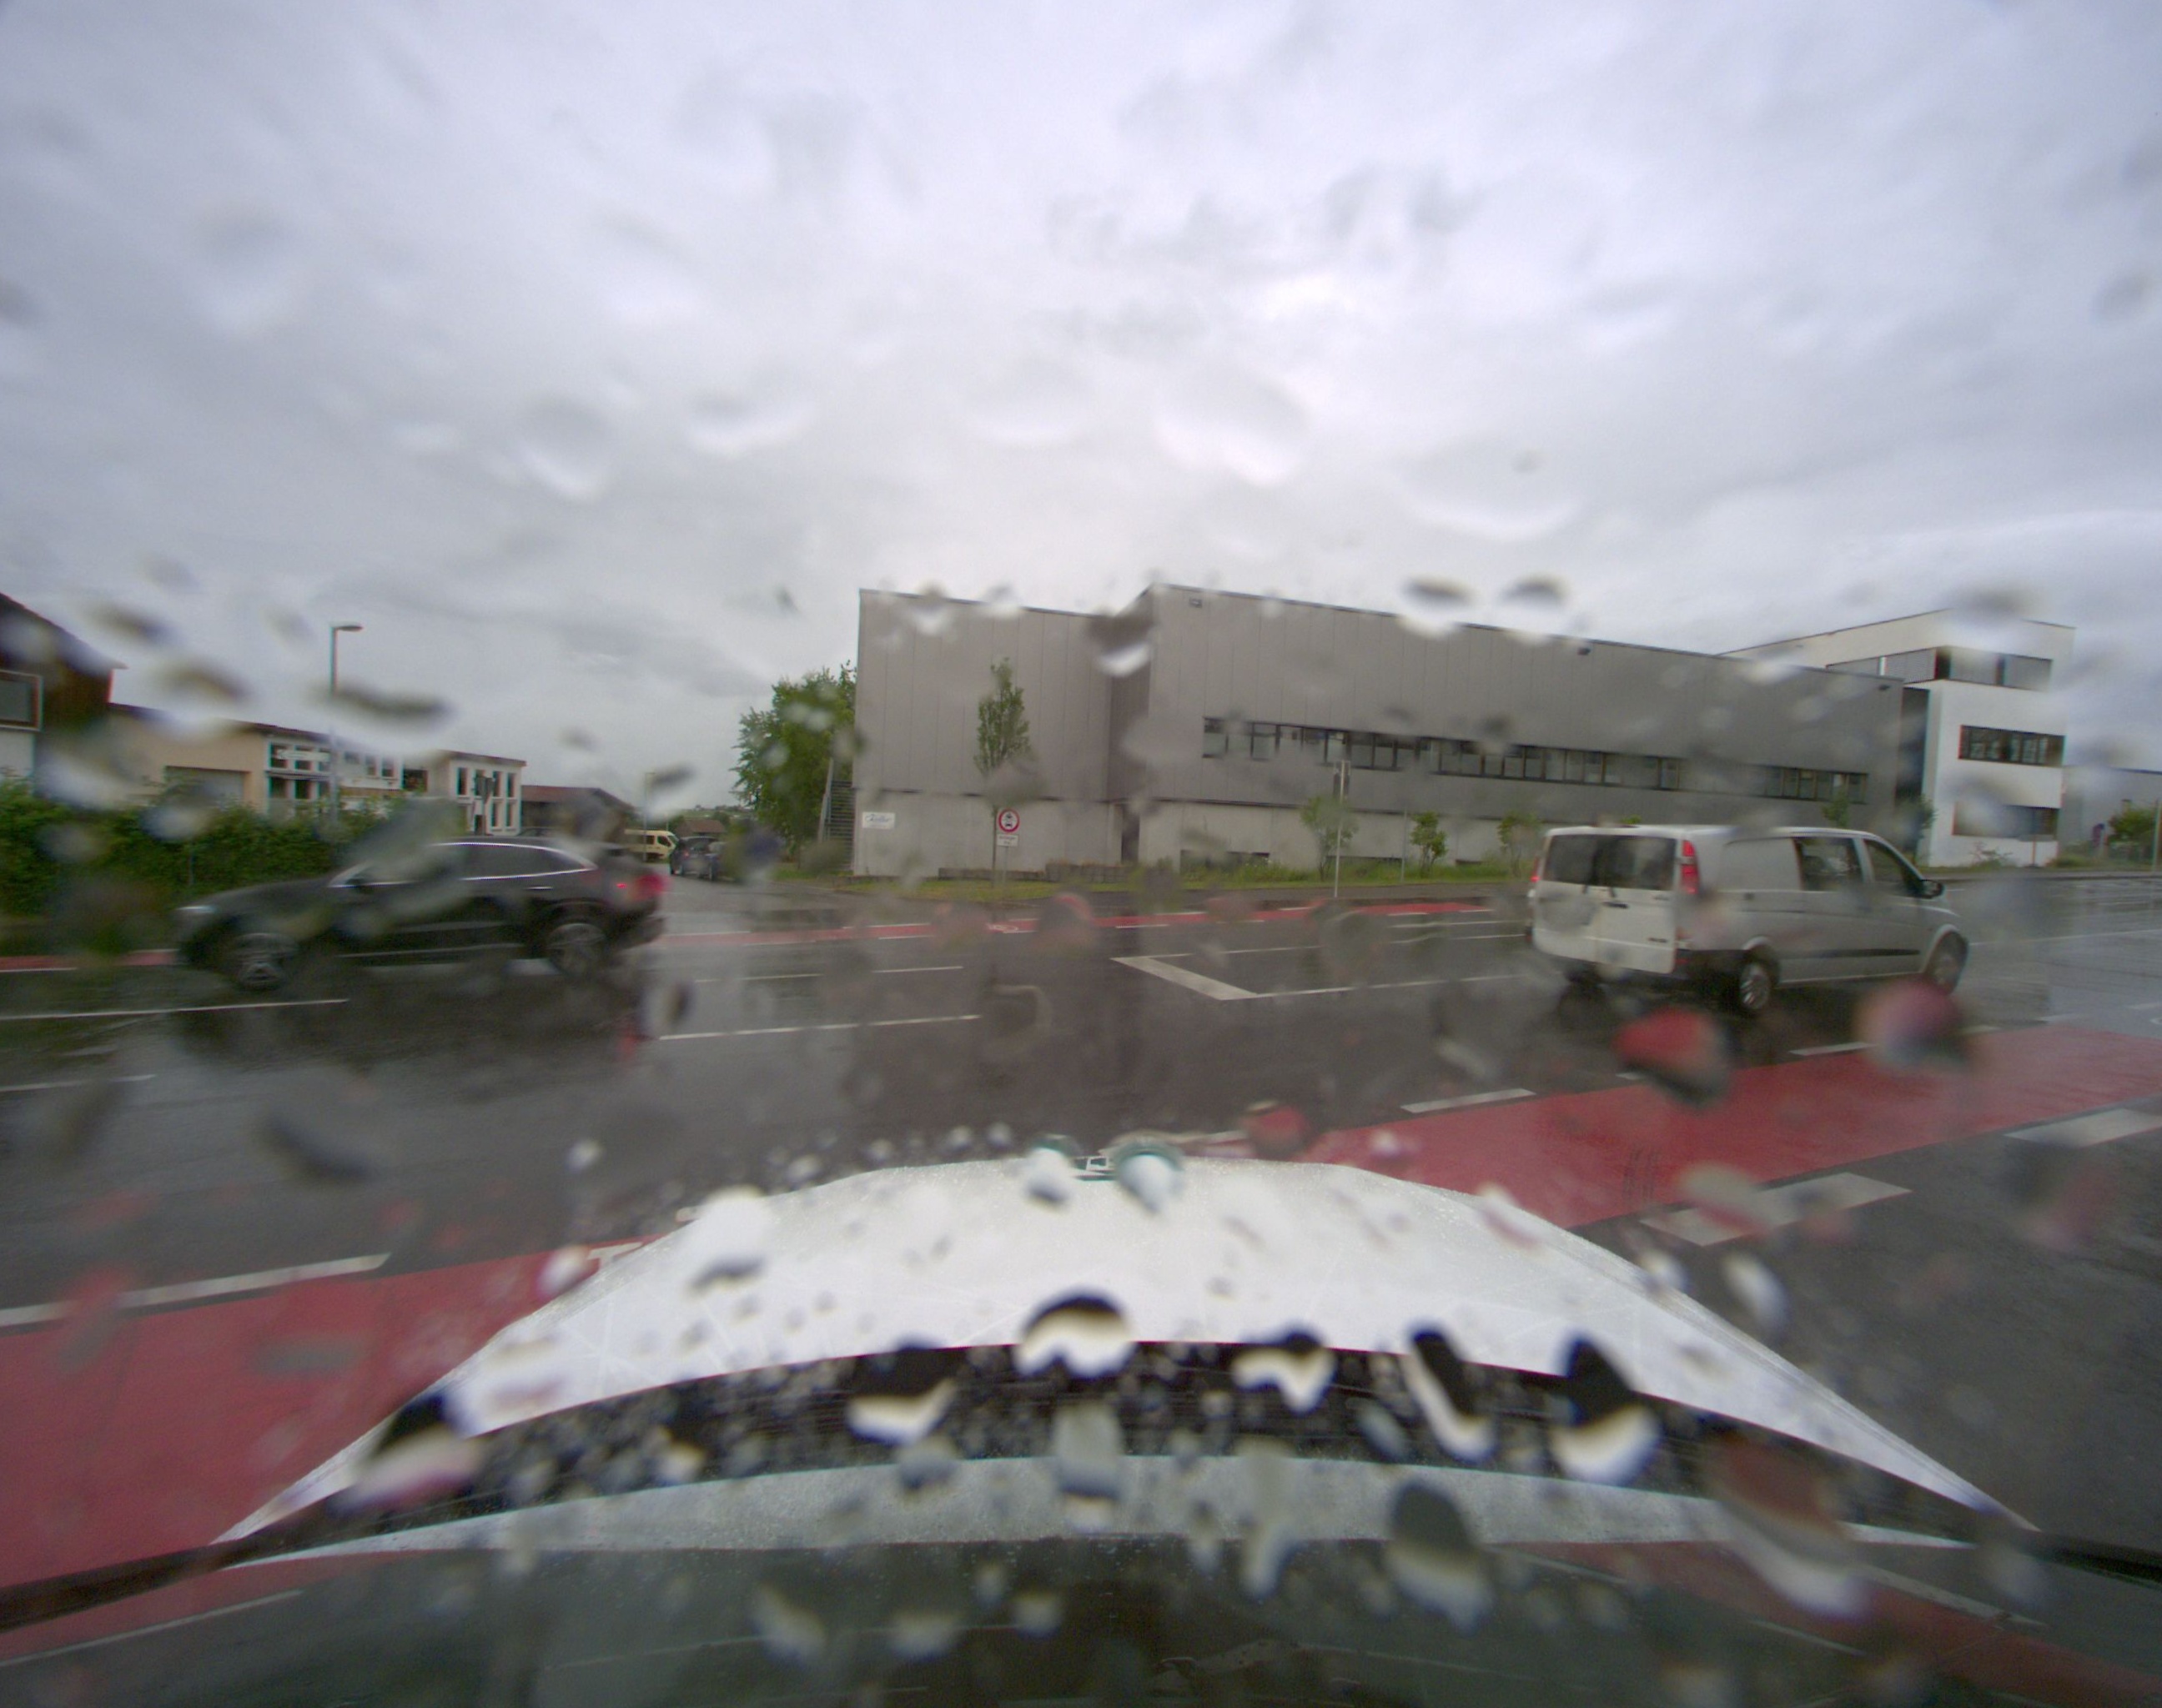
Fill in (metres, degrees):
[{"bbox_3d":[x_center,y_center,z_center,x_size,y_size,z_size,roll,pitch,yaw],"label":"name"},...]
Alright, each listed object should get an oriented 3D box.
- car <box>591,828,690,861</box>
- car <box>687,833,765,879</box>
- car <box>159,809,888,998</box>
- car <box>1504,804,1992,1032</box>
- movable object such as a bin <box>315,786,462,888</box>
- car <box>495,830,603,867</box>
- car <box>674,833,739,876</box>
[{"bbox_3d":[-32.874,-0.681,61.011,6.006,2.415,2.456,0,0,-9],"label":"car"},{"bbox_3d":[-13.754,0.070,31.419,1.966,1.610,4.400,0,0,-34],"label":"car"},{"bbox_3d":[-6.088,0.482,10.210,6.881,1.815,2.345,0,1,-22],"label":"car"},{"bbox_3d":[7.496,0.564,9.102,5.376,2.018,1.891,0,0,-22],"label":"car"},{"bbox_3d":[-18.811,-0.420,22.317,1.735,2.556,3.323,0,0,-14],"label":"movable object such as a bin"},{"bbox_3d":[-28.297,-0.268,43.409,4.381,1.905,2.000,0,0,0],"label":"car"},{"bbox_3d":[-17.023,0.024,36.928,2.088,1.835,4.424,0,0,-33],"label":"car"}]
